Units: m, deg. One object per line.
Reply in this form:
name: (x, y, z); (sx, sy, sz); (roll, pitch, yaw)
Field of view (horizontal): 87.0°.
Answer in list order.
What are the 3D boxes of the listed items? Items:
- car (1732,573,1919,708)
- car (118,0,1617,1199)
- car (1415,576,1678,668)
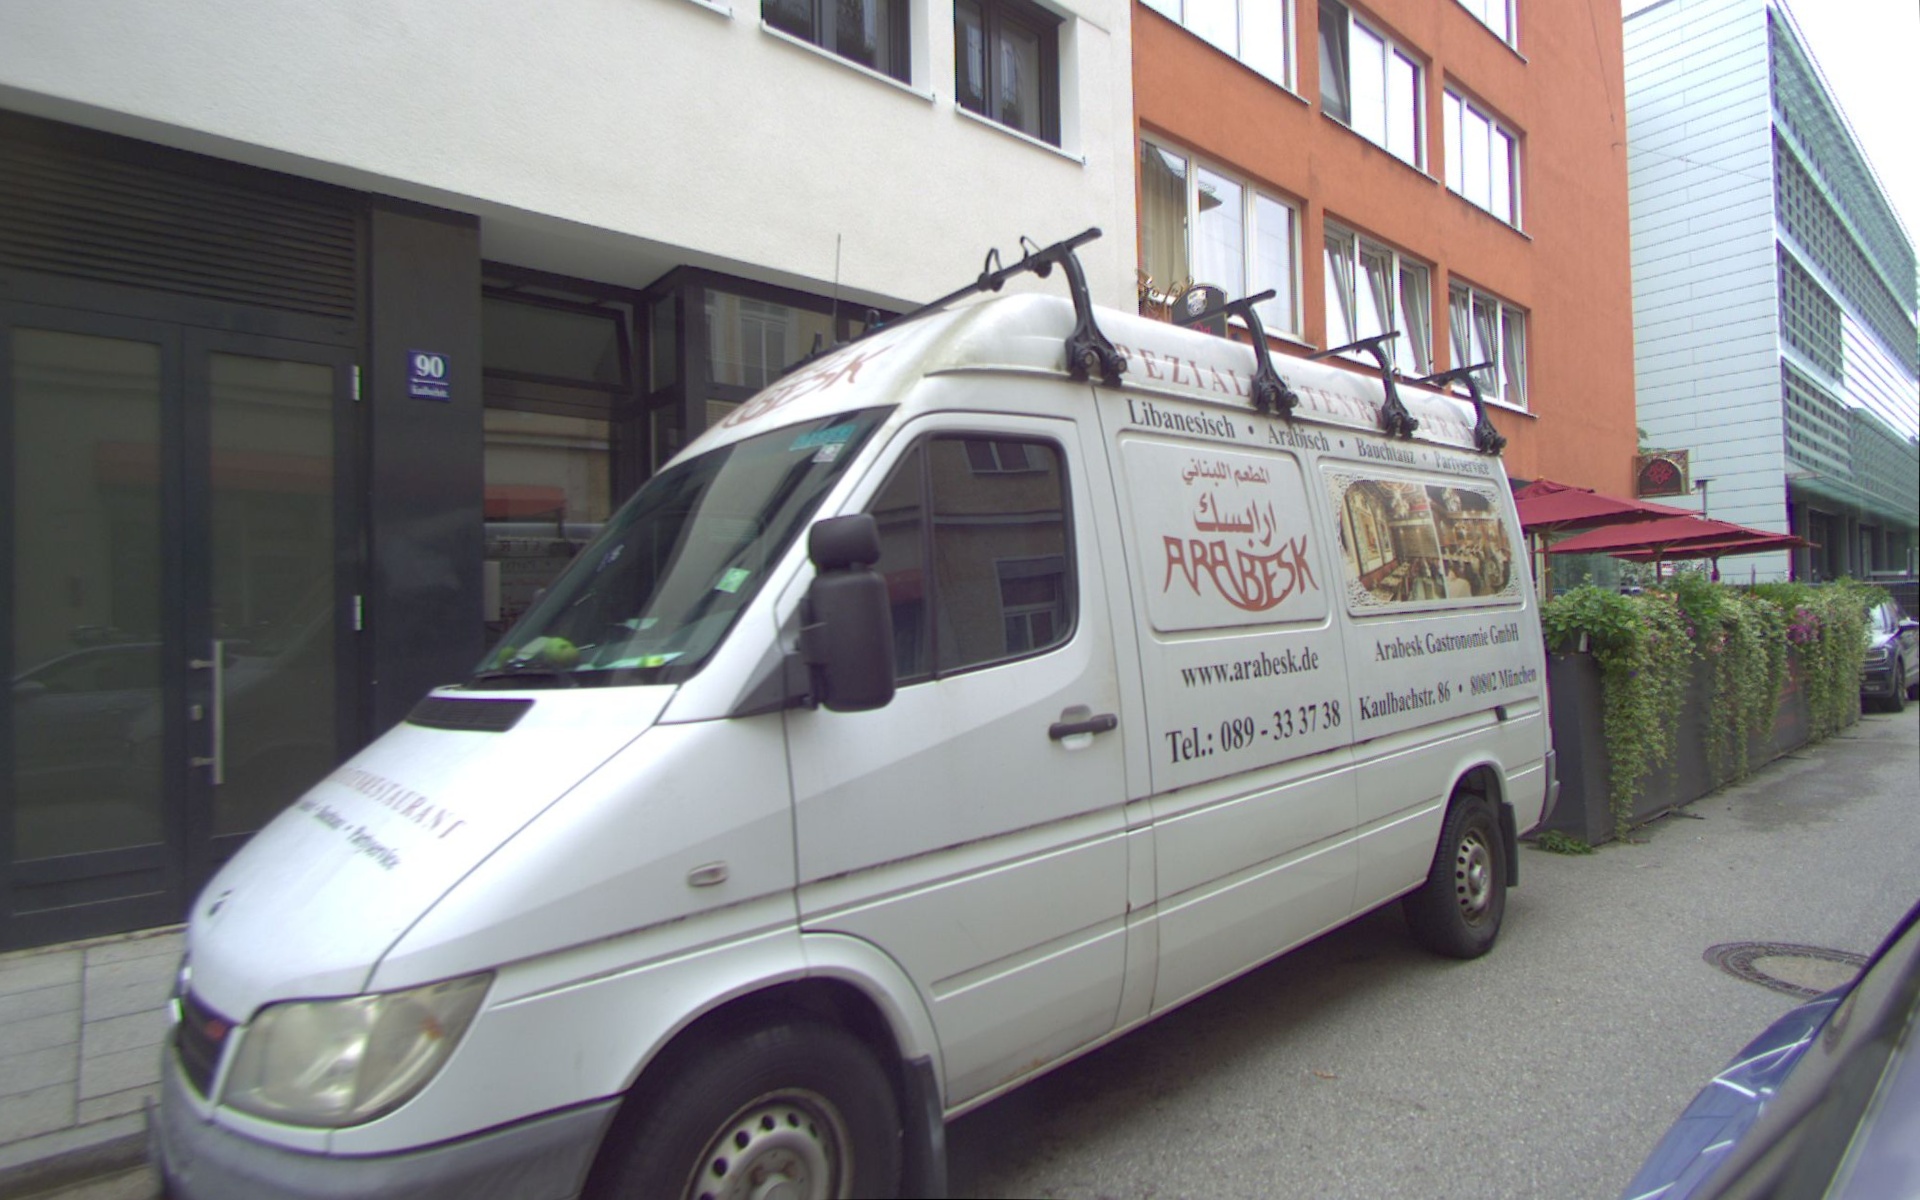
car: (13.248, 0.537, 15.035); (4.310, 1.732, 1.827); (0, -2, -39)
car: (0.509, 0.238, 4.023); (5.893, 2.539, 1.922); (0, -3, -42)
car: (12.274, 0.452, 21.445); (1.808, 1.742, 4.469); (0, -1, -40)
